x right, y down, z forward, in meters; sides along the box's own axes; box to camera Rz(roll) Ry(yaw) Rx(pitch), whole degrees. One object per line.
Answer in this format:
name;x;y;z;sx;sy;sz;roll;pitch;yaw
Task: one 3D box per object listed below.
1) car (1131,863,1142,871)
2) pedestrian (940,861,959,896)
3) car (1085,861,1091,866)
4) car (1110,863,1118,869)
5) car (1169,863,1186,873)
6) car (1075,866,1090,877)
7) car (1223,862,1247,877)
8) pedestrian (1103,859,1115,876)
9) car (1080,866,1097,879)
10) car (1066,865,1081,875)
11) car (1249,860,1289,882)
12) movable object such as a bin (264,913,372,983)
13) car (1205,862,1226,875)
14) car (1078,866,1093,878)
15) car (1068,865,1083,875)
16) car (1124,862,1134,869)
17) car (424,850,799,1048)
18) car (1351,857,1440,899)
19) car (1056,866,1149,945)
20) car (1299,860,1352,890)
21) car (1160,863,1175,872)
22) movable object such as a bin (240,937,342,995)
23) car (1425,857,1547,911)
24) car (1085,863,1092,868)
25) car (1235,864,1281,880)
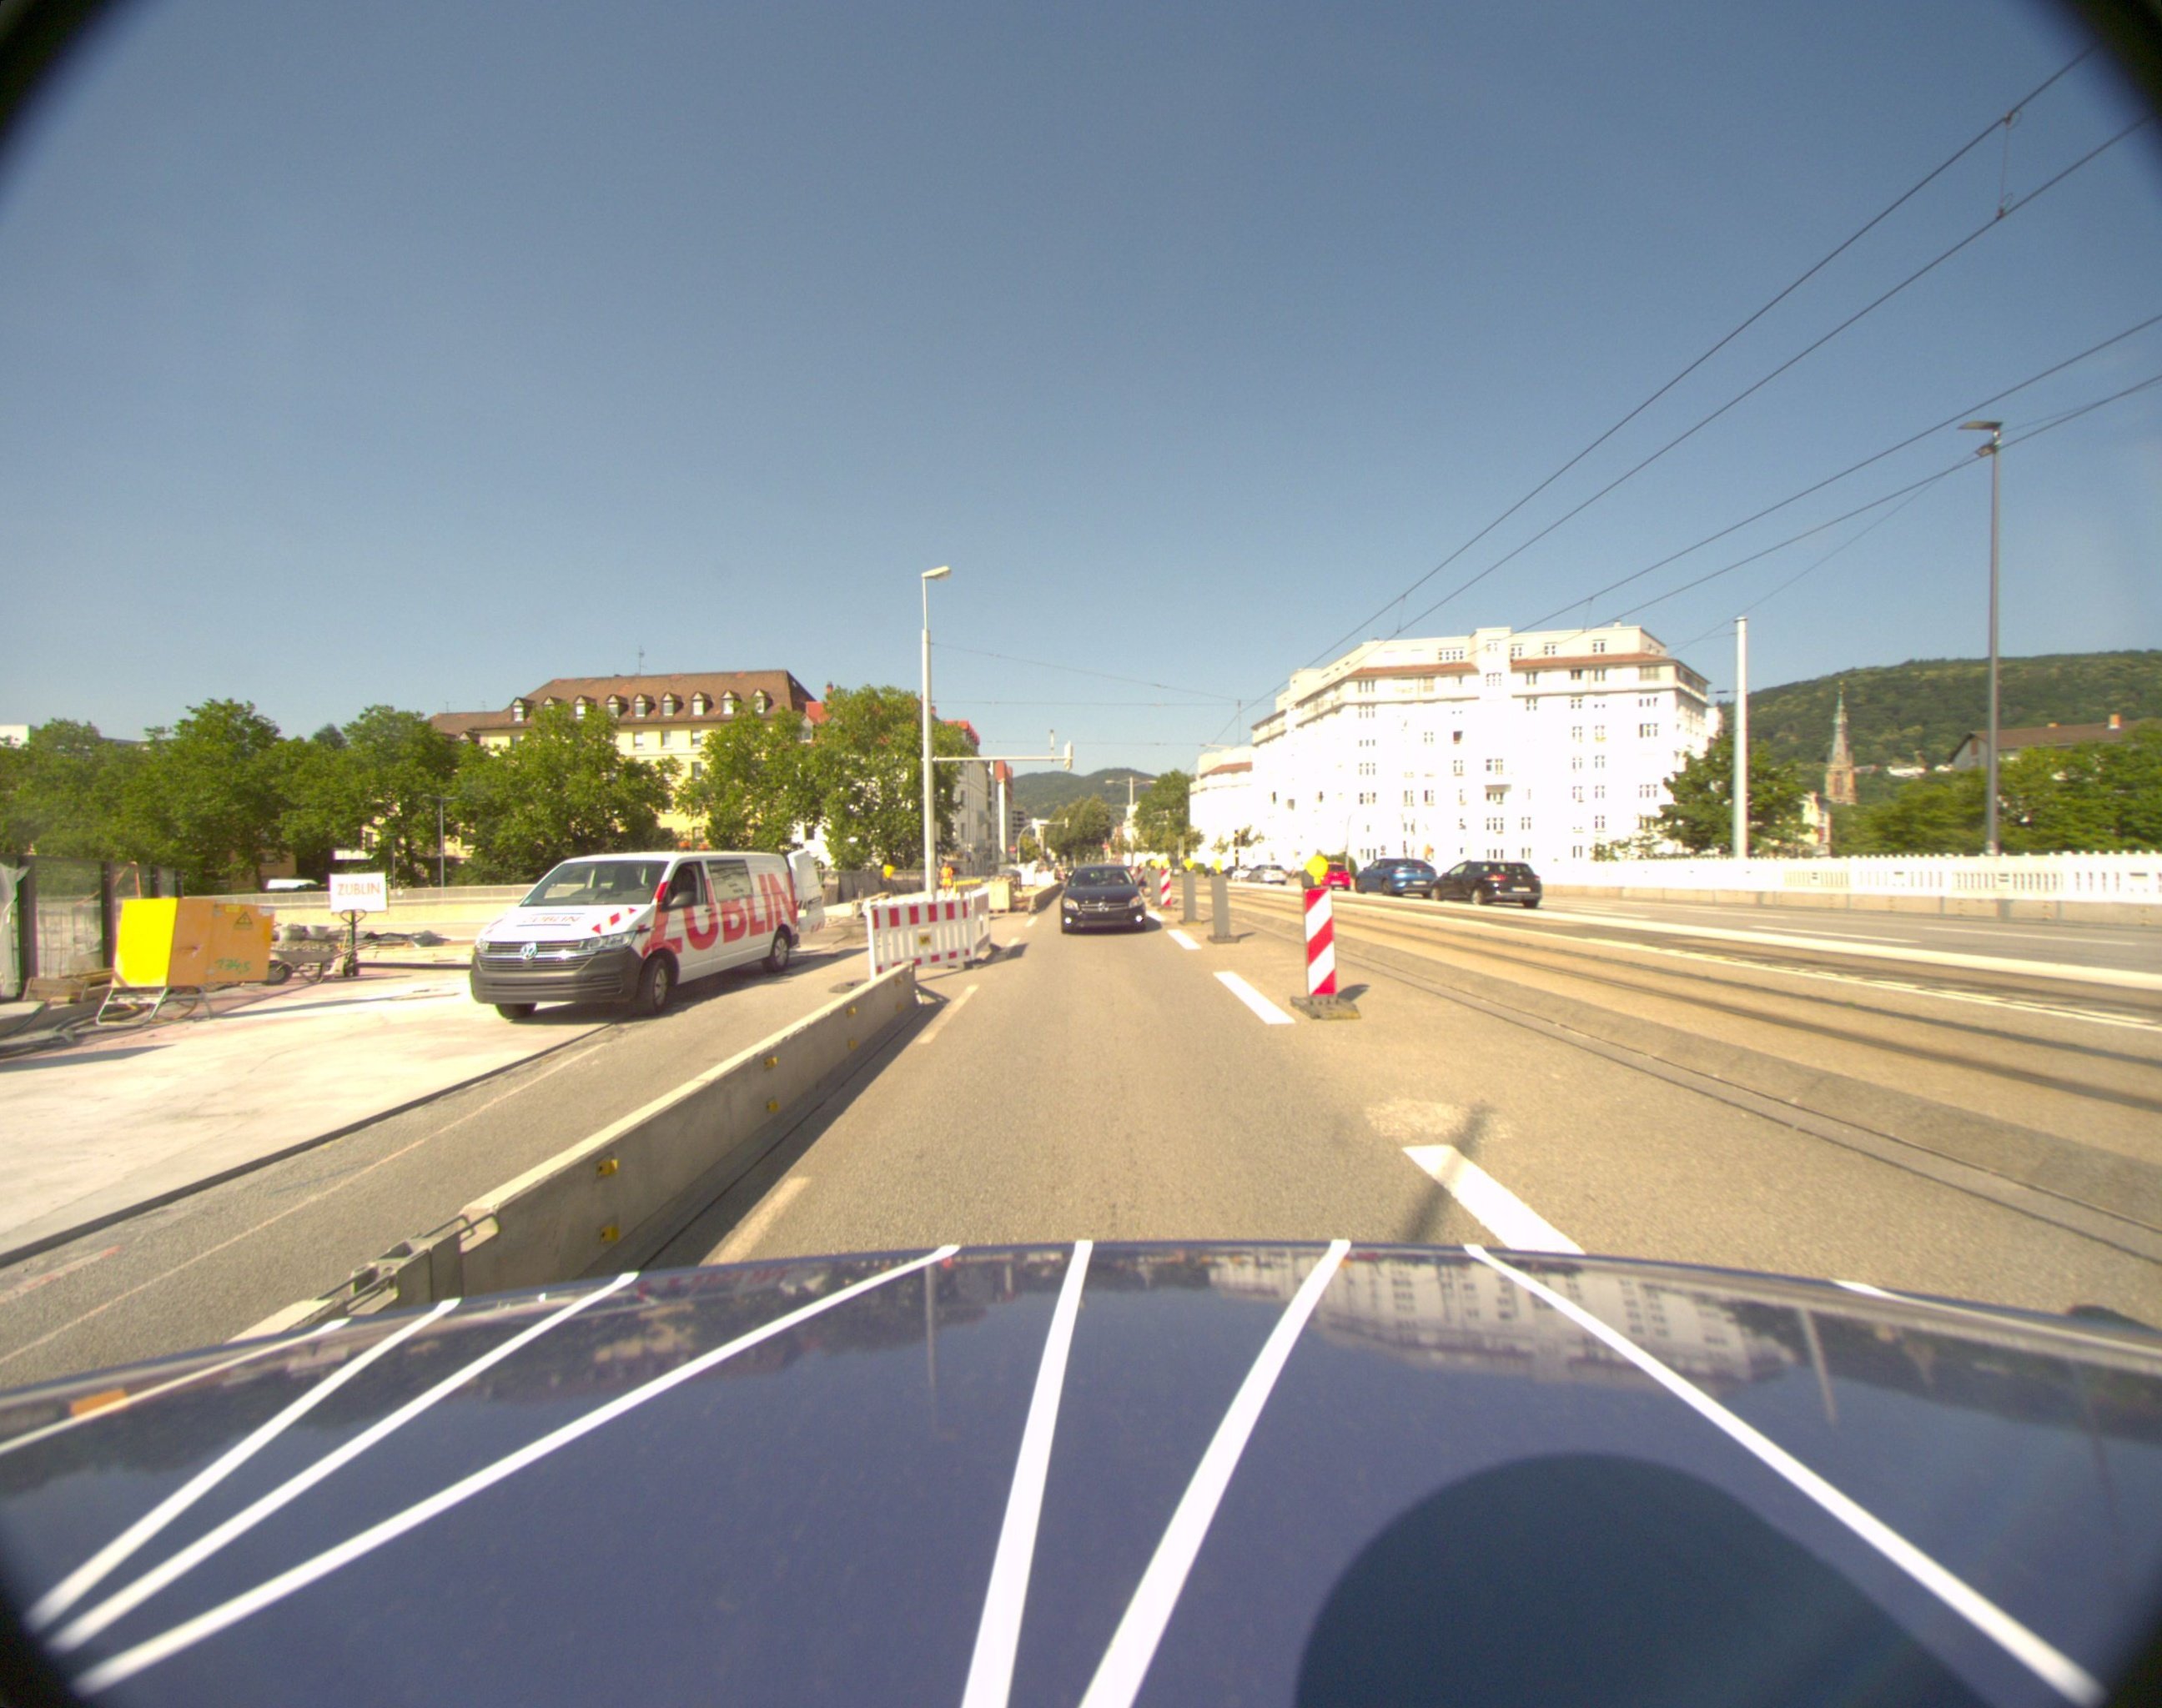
car;11.854;2.779;162.393;1.740;1.475;3.739;-1;-1;-4
pedestrian;-6.884;1.264;39.751;0.821;1.784;0.864;0;0;0
car;2.456;3.357;258.835;1.798;1.672;3.740;-1;0;-2
car;8.506;3.061;198.441;1.739;1.475;3.740;-1;-1;-2
car;15.044;2.128;118.593;1.740;1.475;3.739;-1;-1;-4
car;0.226;2.191;97.621;1.767;1.346;4.000;-2;-1;-2
car;18.080;1.798;89.339;1.740;1.628;3.739;-1;-1;-4
pedestrian;2.891;1.421;78.632;1.003;1.696;0.822;-1;1;-7
car;0.890;1.998;84.164;1.766;1.313;4.001;-2;-1;1
car;-1.140;2.380;111.362;1.767;1.346;3.998;-2;-1;-6
car;12.787;1.159;51.967;1.642;1.428;4.644;1;0;0
movable object such as a bin;-14.088;1.740;14.019;2.038;1.123;0.609;-5;1;24
car;17.315;1.902;98.020;1.740;1.628;3.738;-1;-1;-6
car;0.519;2.101;91.545;1.767;1.346;4.000;-2;-1;-1
car;-0.722;2.179;104.038;1.767;1.346;3.999;-2;-1;-4
car;10.829;2.627;170.431;1.740;1.475;3.739;-1;-1;-4
car;-5.834;0.996;10.409;1.883;2.021;4.891;-2;0;2
car;12.372;0.912;30.231;1.674;1.541;4.556;0;0;0
car;0.533;1.016;16.821;1.702;1.399;4.624;-3;0;3
car;12.924;1.078;40.424;1.537;1.429;3.980;2;0;0
car;14.391;2.220;125.920;1.740;1.475;3.739;-1;-1;-4
movable object such as a bin;-13.239;1.853;12.744;0.754;0.837;1.107;-1;-3;40
car;12.281;0.856;23.329;1.509;1.491;4.178;1;0;0
car;2.160;3.261;218.782;1.798;1.475;3.740;-1;-1;-2
car;17.080;1.710;73.381;1.705;1.403;4.475;0;0;-30
